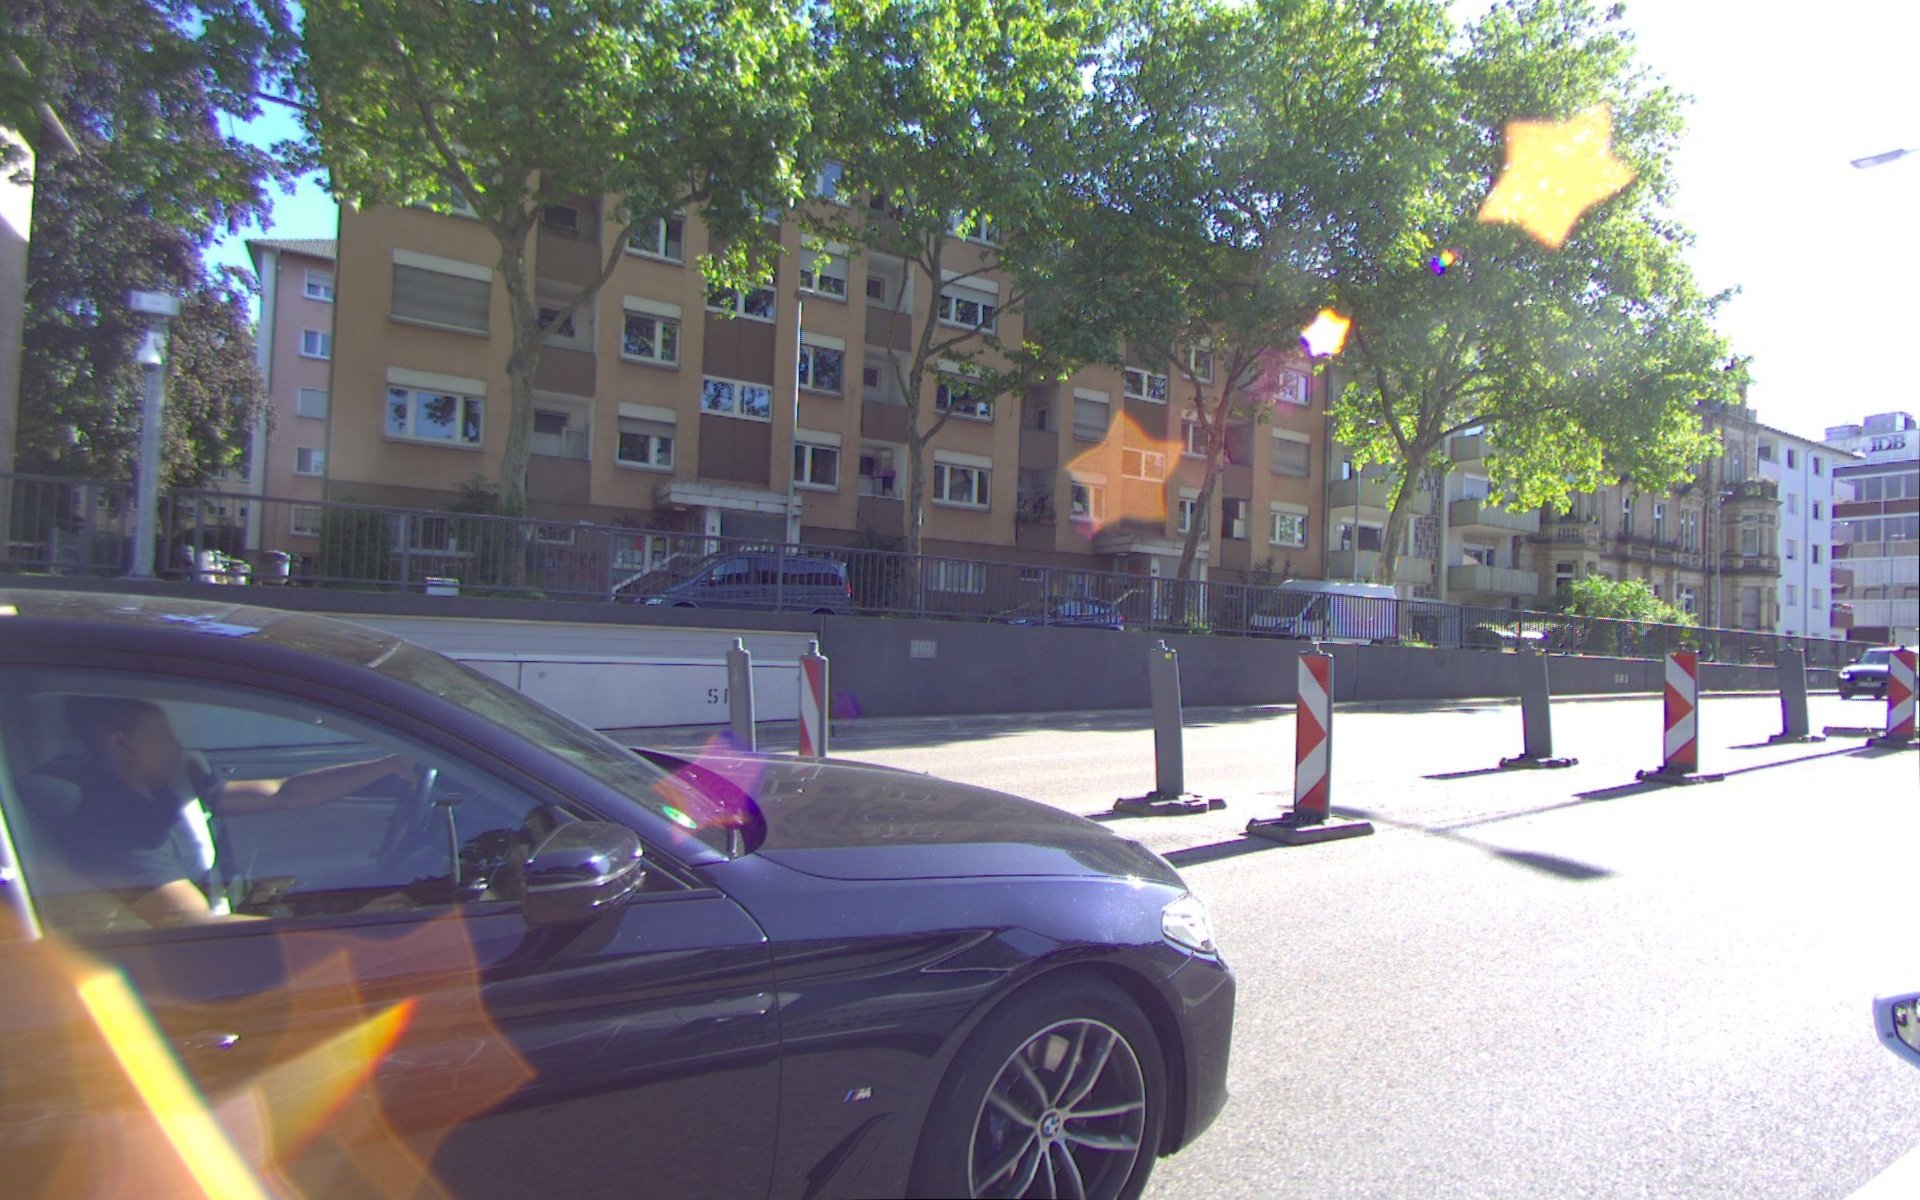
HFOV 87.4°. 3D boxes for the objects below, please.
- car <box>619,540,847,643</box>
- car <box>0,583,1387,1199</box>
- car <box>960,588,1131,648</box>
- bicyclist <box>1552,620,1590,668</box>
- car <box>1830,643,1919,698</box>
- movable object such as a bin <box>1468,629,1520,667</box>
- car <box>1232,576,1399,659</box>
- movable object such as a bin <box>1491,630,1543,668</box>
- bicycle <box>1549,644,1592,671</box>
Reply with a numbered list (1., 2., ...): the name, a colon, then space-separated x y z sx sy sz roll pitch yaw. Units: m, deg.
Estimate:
1. car: -4.973 -0.131 22.235 4.479 1.986 1.954 3 -1 -33
2. car: -1.435 0.702 2.142 4.946 1.458 1.799 1 1 -32
3. car: 2.293 0.488 26.701 4.125 1.407 1.983 3 -1 -31
4. bicyclist: 22.108 1.593 36.341 1.012 1.654 0.770 3 0 -34
5. car: 26.633 2.005 28.767 3.676 1.484 1.531 2 -4 -32
6. movable object such as a bin: 20.934 1.881 39.395 1.286 1.421 1.273 3 -1 -30
7. car: 11.407 0.593 32.130 5.355 2.390 1.984 3 -1 -30
8. movable object such as a bin: 22.162 1.941 39.972 1.309 1.421 1.273 3 -1 -30
9. bicycle: 22.090 2.079 36.338 1.740 0.939 0.652 3 -1 -34
